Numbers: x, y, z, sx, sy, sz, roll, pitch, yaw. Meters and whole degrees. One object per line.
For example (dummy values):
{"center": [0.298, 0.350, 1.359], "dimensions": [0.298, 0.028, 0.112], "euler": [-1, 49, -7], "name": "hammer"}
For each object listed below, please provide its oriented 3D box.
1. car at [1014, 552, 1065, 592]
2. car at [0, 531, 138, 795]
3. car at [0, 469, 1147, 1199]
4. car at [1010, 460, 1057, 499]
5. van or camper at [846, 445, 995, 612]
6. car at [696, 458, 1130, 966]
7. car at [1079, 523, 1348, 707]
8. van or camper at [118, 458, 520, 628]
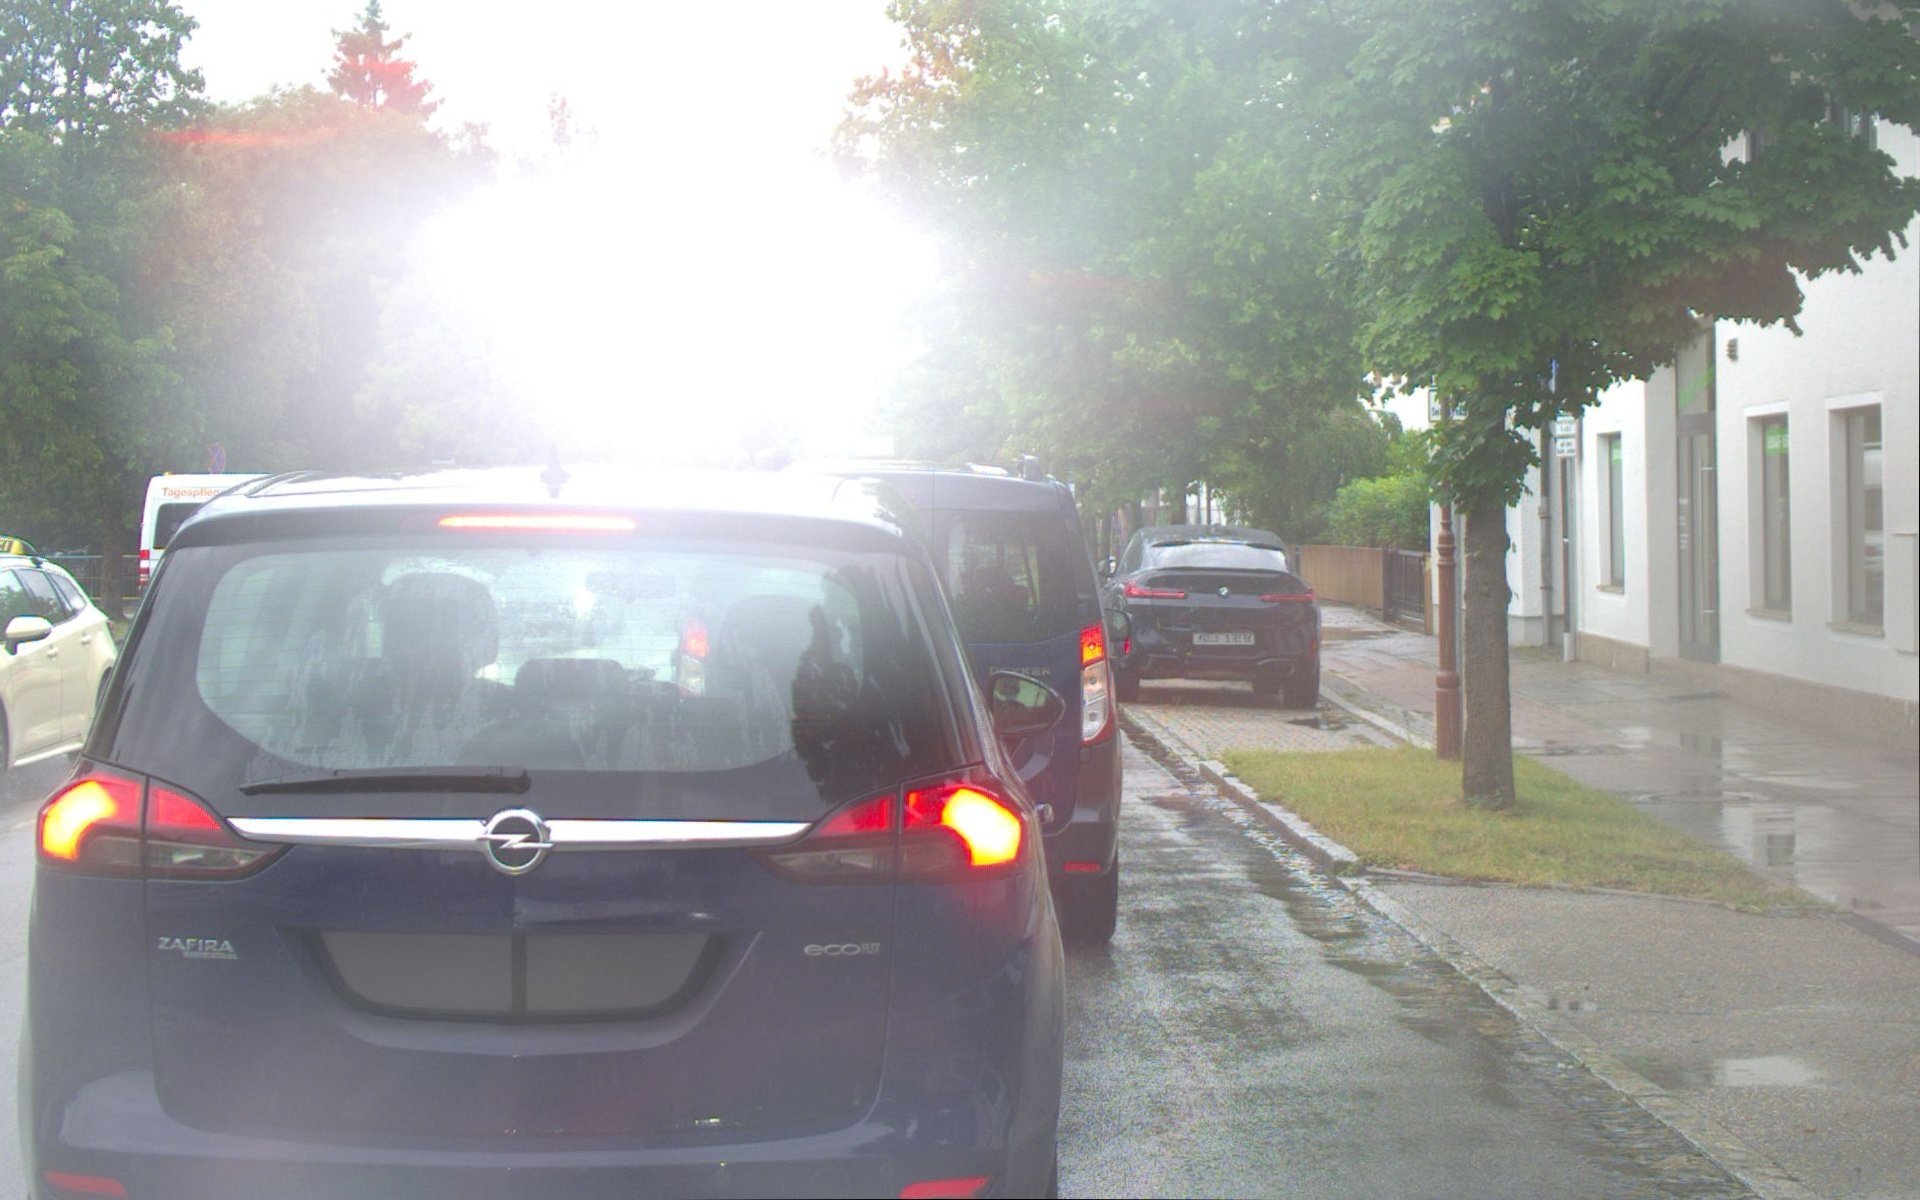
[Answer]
{"center": [2.783, -0.993, 120.830], "dimensions": [1.630, 1.373, 3.623], "euler": [1, 0, -1], "name": "car"}
{"center": [-6.381, 0.367, 20.748], "dimensions": [1.752, 1.506, 4.230], "euler": [-2, 1, 0], "name": "car"}
{"center": [-0.626, 0.570, 7.057], "dimensions": [1.768, 1.599, 3.663], "euler": [0, 1, -1], "name": "car"}
{"center": [2.768, -4.545, 130.267], "dimensions": [1.630, 1.373, 3.623], "euler": [-2, 1, -1], "name": "car"}
{"center": [-0.662, -1.207, 58.103], "dimensions": [2.360, 2.656, 5.372], "euler": [-1, 1, -1], "name": "van or camper"}
{"center": [-0.184, 0.365, 13.651], "dimensions": [1.500, 1.770, 3.112], "euler": [1, 1, -1], "name": "car"}
{"center": [2.289, 0.104, 32.107], "dimensions": [2.117, 1.575, 3.936], "euler": [1, 1, -1], "name": "car"}
{"center": [-10.609, -0.955, 57.197], "dimensions": [6.248, 2.698, 2.101], "euler": [-1, 1, 1], "name": "van or camper"}
